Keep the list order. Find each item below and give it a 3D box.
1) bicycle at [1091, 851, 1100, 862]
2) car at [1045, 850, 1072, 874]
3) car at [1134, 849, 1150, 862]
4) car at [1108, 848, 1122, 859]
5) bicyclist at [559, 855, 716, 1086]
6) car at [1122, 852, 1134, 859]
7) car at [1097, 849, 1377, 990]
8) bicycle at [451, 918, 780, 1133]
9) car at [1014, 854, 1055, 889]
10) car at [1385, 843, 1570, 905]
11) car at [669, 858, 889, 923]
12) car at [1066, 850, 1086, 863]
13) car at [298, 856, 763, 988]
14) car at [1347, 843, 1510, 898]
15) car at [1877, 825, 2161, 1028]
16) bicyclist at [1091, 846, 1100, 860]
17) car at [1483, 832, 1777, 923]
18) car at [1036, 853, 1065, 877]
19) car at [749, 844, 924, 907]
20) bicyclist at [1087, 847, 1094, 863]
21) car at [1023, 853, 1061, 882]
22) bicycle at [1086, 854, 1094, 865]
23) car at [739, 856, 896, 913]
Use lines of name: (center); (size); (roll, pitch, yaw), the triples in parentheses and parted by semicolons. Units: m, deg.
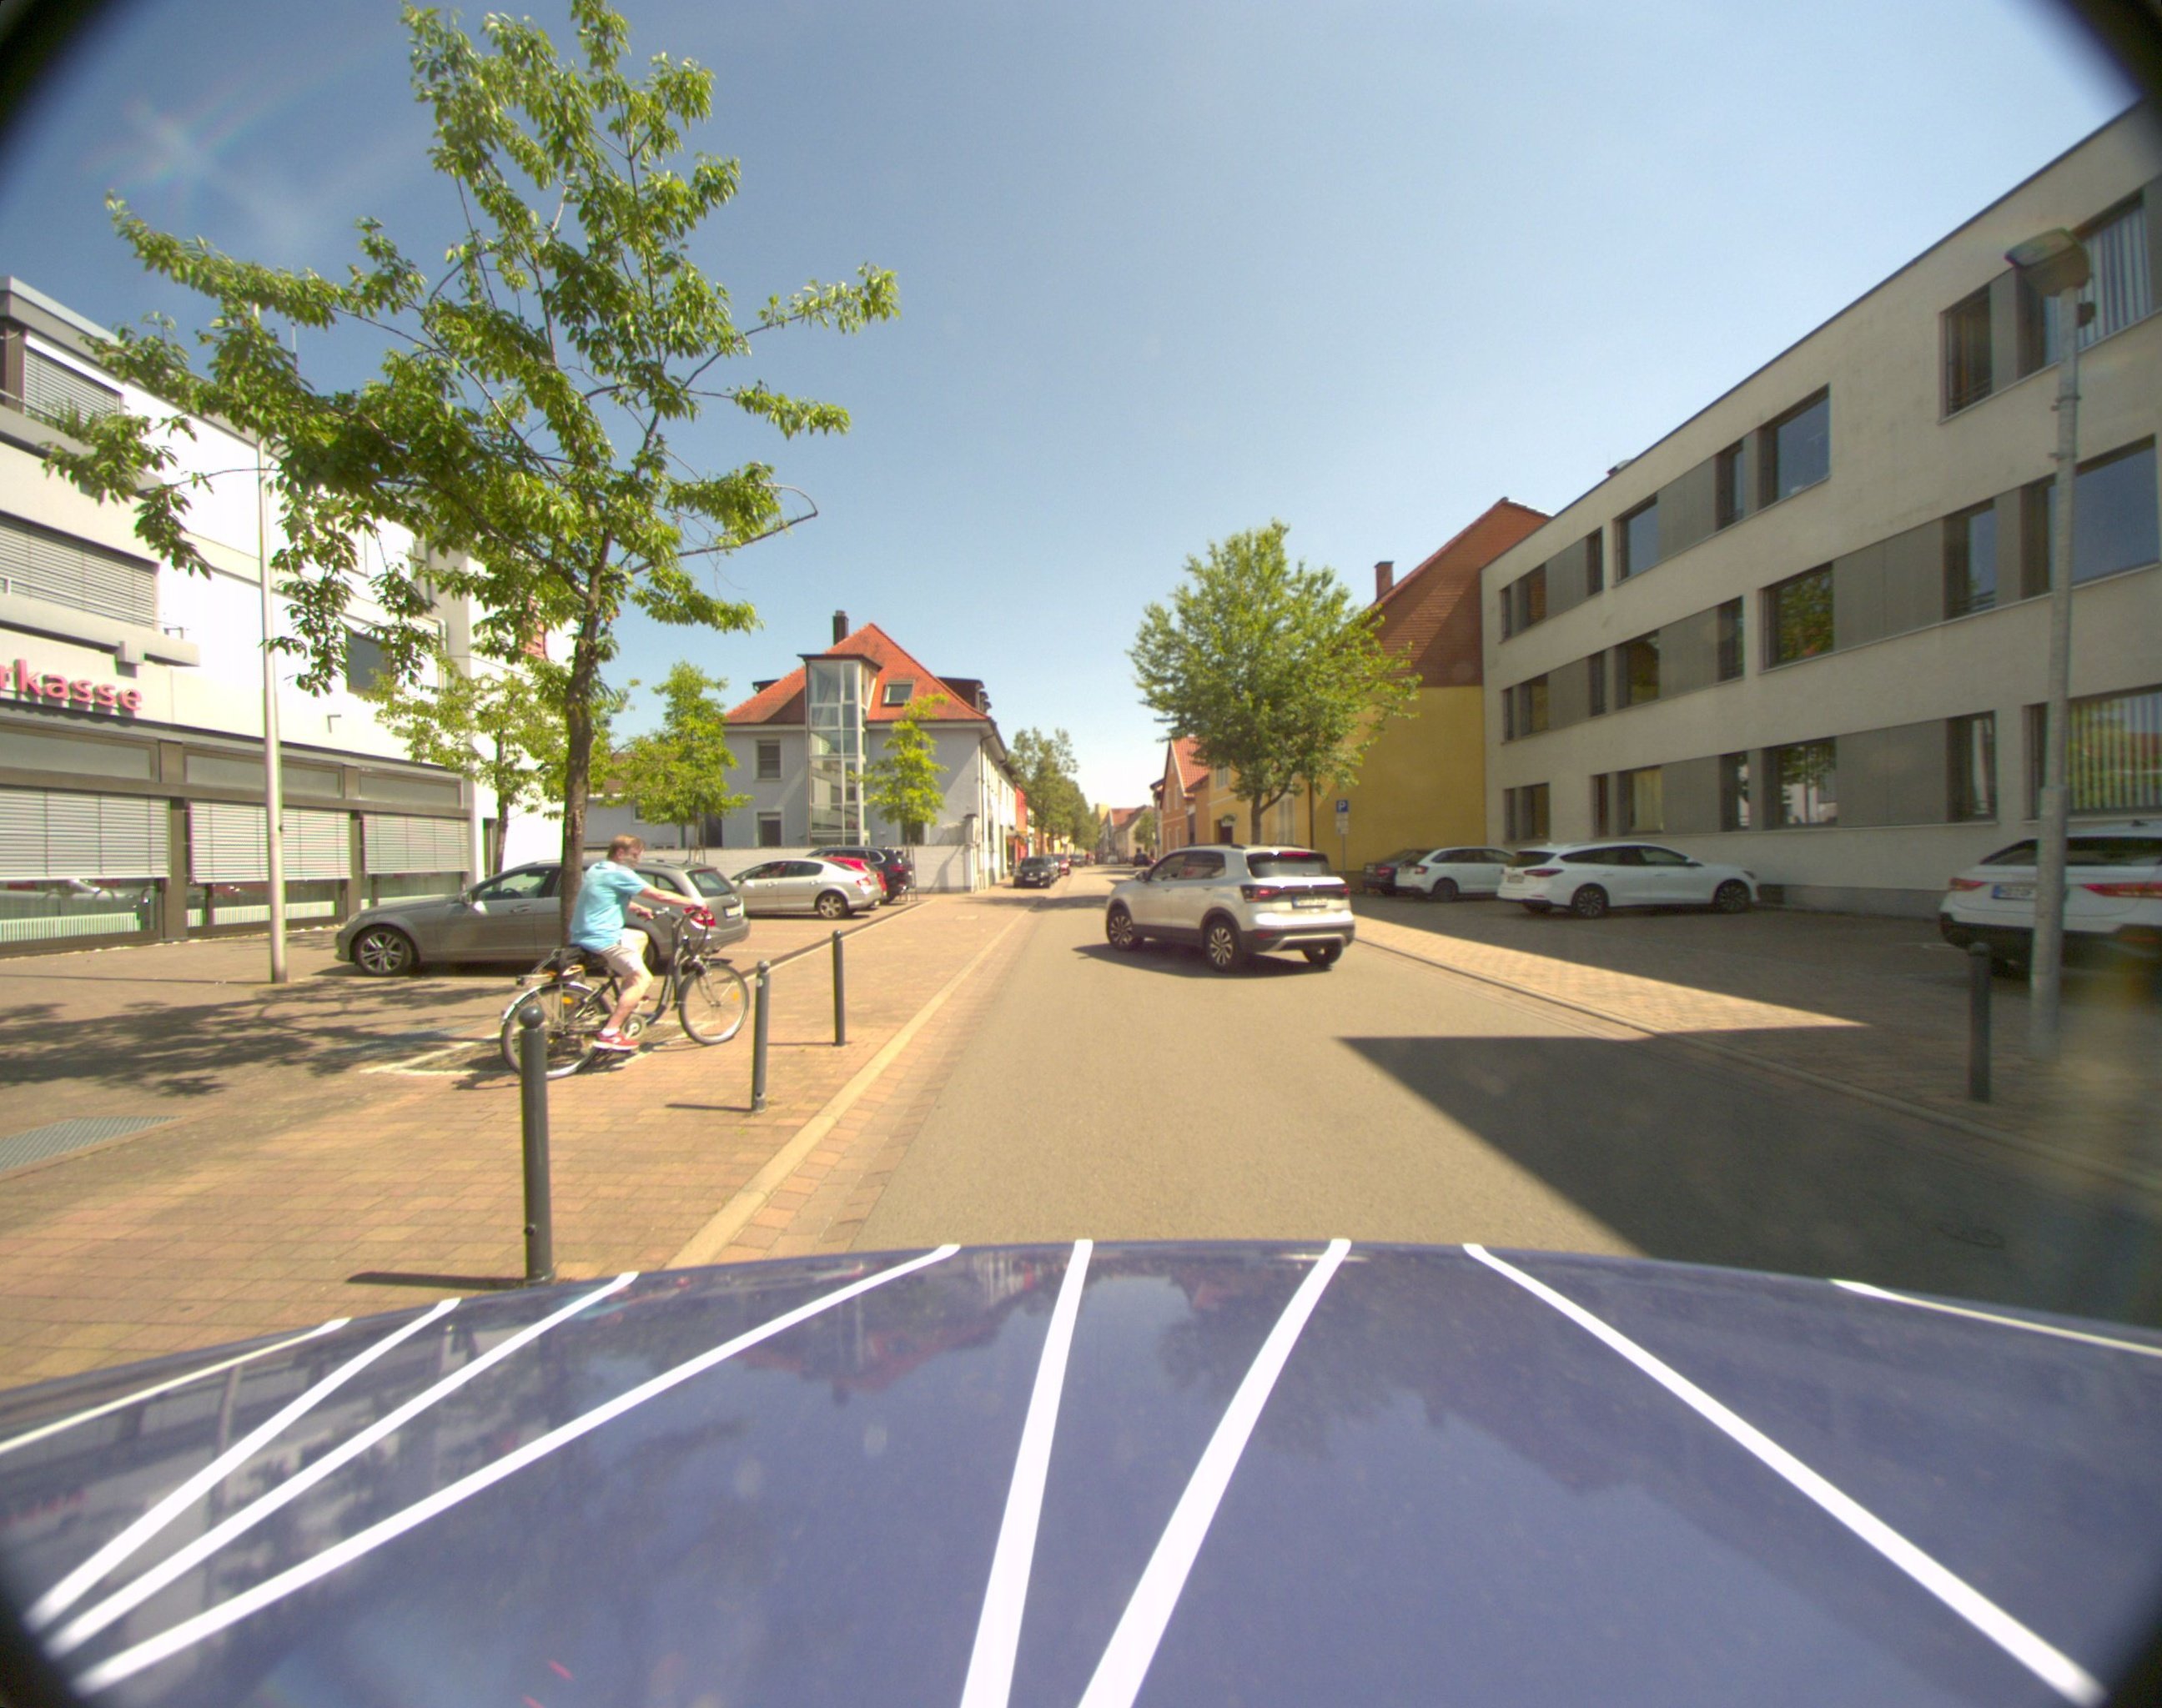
bicycle: (1.727, 0.270, 92.080); (0.959, 1.363, 2.406); (-1, 0, 4)
car: (-1.637, 0.565, 55.238); (1.834, 1.579, 4.086); (-2, 1, -3)
car: (7.499, 0.180, 93.188); (1.863, 1.620, 4.049); (-1, 0, 6)
car: (7.028, -0.151, 155.971); (2.443, 2.224, 4.959); (-1, 0, -2)
bicyclist: (-3.203, 0.771, 5.506); (0.669, 1.518, 0.763); (1, 1, 35)
car: (8.988, 0.285, 145.613); (1.572, 1.452, 3.799); (-2, 0, -5)
car: (1.908, 0.737, 10.608); (1.859, 1.564, 3.992); (1, 0, -23)
bicycle: (-3.229, 1.101, 5.476); (0.674, 1.103, 1.900); (1, 1, 35)
car: (-2.123, 0.781, 35.683); (1.708, 1.472, 3.921); (1, 0, -1)
car: (10.532, 0.511, 20.385); (3.997, 1.442, 1.807); (-2, 0, -1)
car: (-7.080, 0.851, 18.228); (4.549, 1.432, 1.838); (1, 0, -6)
car: (-0.584, 0.307, 92.876); (1.928, 1.594, 4.110); (-1, 0, 8)
car: (-6.866, 0.826, 9.982); (4.589, 1.504, 1.915); (1, 1, -6)
car: (10.447, 0.490, 23.044); (3.998, 1.423, 1.972); (-2, 0, -4)
car: (10.697, 0.500, 6.998); (4.518, 1.545, 2.147); (-2, 1, -1)
bicyclist: (1.711, -0.159, 92.107); (1.028, 1.635, 1.025); (-1, 1, 4)
car: (10.876, 0.425, 15.298); (4.515, 1.545, 1.934); (-2, 1, 0)
car: (-1.934, 0.674, 49.262); (1.741, 1.504, 3.735); (0, 0, 0)
car: (-7.300, 0.634, 23.111); (4.643, 1.760, 2.147); (1, 0, -2)
bicyclist: (1.075, 0.130, 87.637); (0.645, 1.766, 0.722); (1, -1, 6)
car: (-2.065, 0.686, 41.405); (1.721, 1.472, 4.095); (0, 1, 1)
bicycle: (1.058, 0.644, 87.597); (0.635, 1.227, 1.895); (1, -1, 7)
car: (-7.097, 0.819, 20.802); (3.740, 1.444, 1.744); (1, 0, -6)
